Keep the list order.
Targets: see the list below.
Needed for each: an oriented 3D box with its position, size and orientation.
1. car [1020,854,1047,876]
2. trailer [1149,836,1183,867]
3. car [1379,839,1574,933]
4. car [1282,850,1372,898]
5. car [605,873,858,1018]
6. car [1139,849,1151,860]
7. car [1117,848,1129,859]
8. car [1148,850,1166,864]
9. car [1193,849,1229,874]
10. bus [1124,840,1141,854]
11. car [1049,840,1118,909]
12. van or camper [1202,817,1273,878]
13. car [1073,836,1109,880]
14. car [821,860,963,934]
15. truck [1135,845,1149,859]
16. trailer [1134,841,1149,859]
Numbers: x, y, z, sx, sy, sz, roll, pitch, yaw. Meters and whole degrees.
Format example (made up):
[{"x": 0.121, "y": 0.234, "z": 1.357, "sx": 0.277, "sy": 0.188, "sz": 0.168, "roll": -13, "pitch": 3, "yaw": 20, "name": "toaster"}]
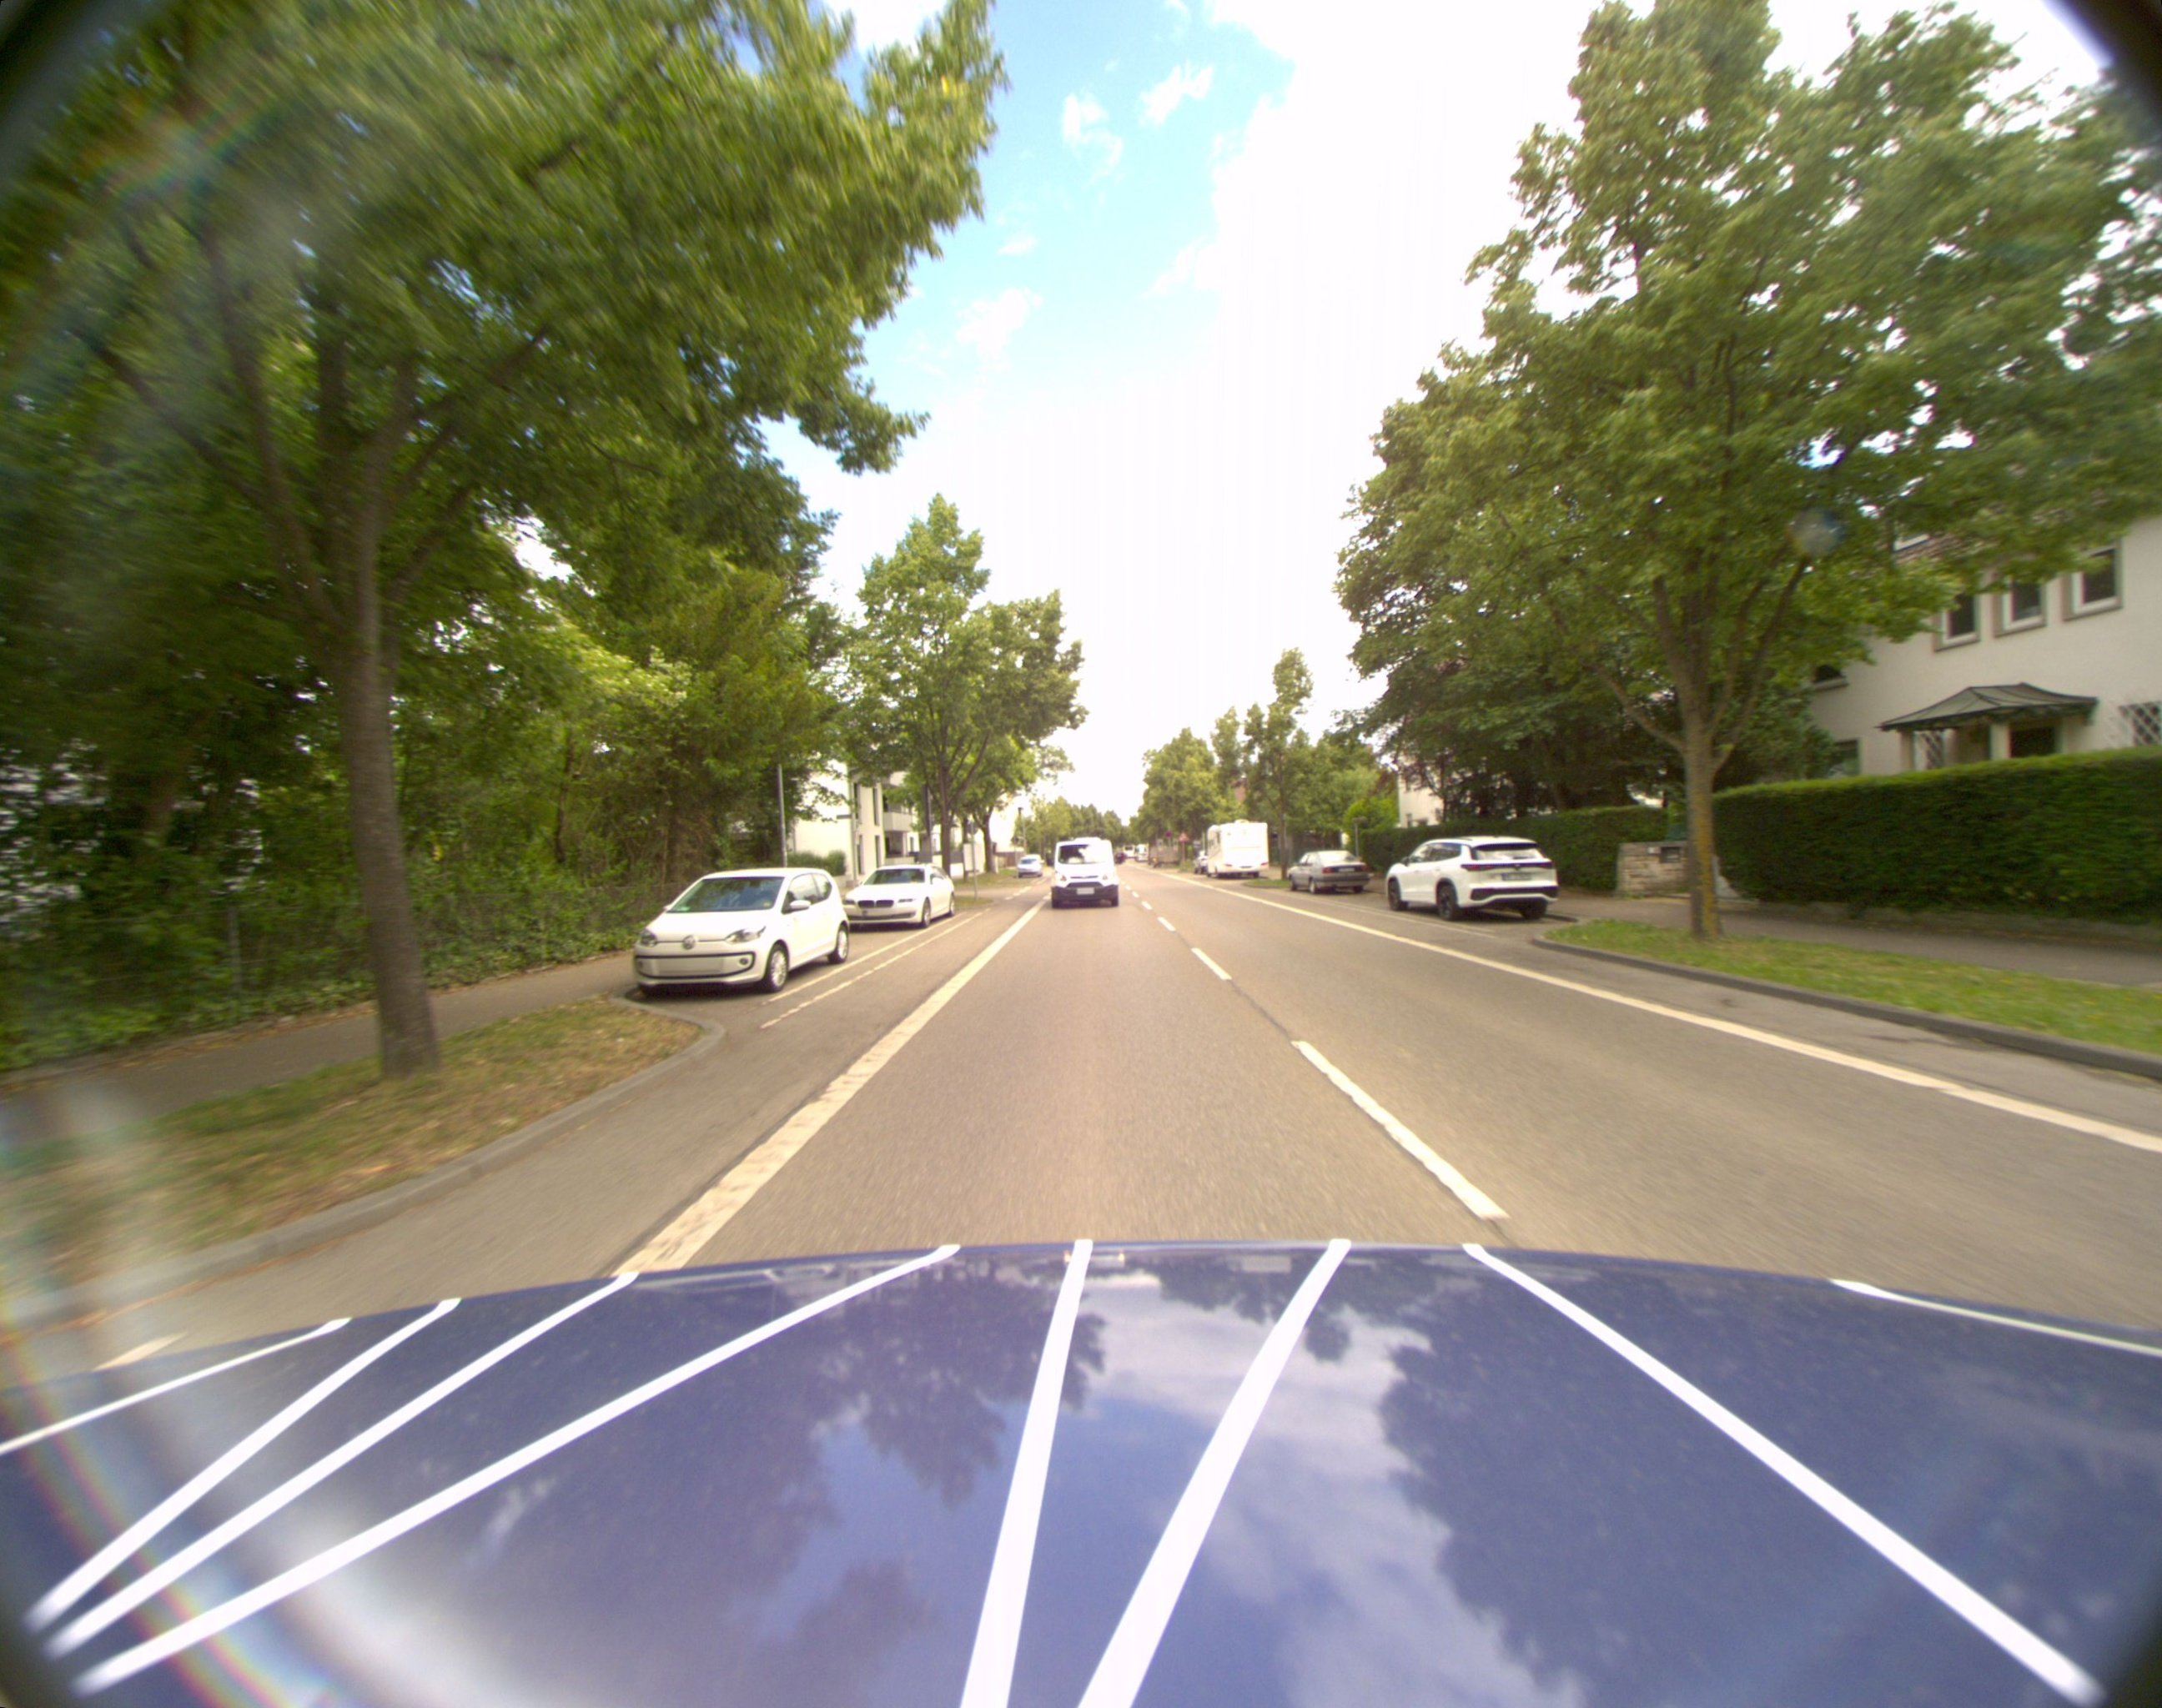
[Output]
[{"x": -3.455, "y": 0.779, "z": 55.840, "sx": 1.691, "sy": 1.484, "sz": 4.227, "roll": -2, "pitch": 0, "yaw": 1, "name": "car"}, {"x": 8.819, "y": -0.319, "z": 79.698, "sx": 2.680, "sy": 2.924, "sz": 7.474, "roll": -3, "pitch": 1, "yaw": 0, "name": "trailer"}, {"x": 8.089, "y": 0.576, "z": 16.129, "sx": 1.821, "sy": 1.642, "sz": 4.699, "roll": -2, "pitch": 0, "yaw": 3, "name": "car"}, {"x": 8.327, "y": 0.624, "z": 26.133, "sx": 1.559, "sy": 1.461, "sz": 4.451, "roll": -2, "pitch": 0, "yaw": -1, "name": "car"}, {"x": -4.388, "y": 1.052, "z": 10.194, "sx": 1.620, "sy": 1.451, "sz": 3.657, "roll": -2, "pitch": 0, "yaw": 1, "name": "car"}, {"x": 10.106, "y": 0.021, "z": 120.934, "sx": 1.693, "sy": 1.674, "sz": 4.225, "roll": -2, "pitch": 1, "yaw": 2, "name": "car"}, {"x": 6.850, "y": -0.138, "z": 125.021, "sx": 1.764, "sy": 1.792, "sz": 4.768, "roll": -2, "pitch": 0, "yaw": 1, "name": "car"}, {"x": 9.372, "y": 0.368, "z": 94.294, "sx": 1.865, "sy": 1.544, "sz": 4.618, "roll": -2, "pitch": 2, "yaw": 1, "name": "car"}, {"x": 8.575, "y": 0.464, "z": 50.589, "sx": 1.727, "sy": 1.591, "sz": 4.272, "roll": -2, "pitch": 0, "yaw": 1, "name": "car"}, {"x": 13.229, "y": -1.748, "z": 193.402, "sx": 2.810, "sy": 3.269, "sz": 18.053, "roll": 2, "pitch": 1, "yaw": 8, "name": "bus"}, {"x": 0.175, "y": 0.601, "z": 25.414, "sx": 1.998, "sy": 2.002, "sz": 5.319, "roll": -2, "pitch": 1, "yaw": 2, "name": "car"}, {"x": 8.478, "y": -0.364, "z": 42.133, "sx": 2.441, "sy": 2.992, "sz": 7.693, "roll": -2, "pitch": 0, "yaw": 1, "name": "van or camper"}, {"x": 0.685, "y": 0.221, "z": 48.450, "sx": 1.998, "sy": 2.584, "sz": 4.001, "roll": -3, "pitch": 0, "yaw": 3, "name": "car"}, {"x": -4.378, "y": 0.926, "z": 18.520, "sx": 2.026, "sy": 1.435, "sz": 5.025, "roll": -2, "pitch": 0, "yaw": 1, "name": "car"}, {"x": 10.833, "y": -0.384, "z": 134.164, "sx": 2.299, "sy": 2.274, "sz": 6.465, "roll": -2, "pitch": 0, "yaw": 6, "name": "truck"}, {"x": 10.193, "y": -0.685, "z": 127.459, "sx": 2.377, "sy": 2.946, "sz": 7.013, "roll": -2, "pitch": 0, "yaw": 6, "name": "trailer"}]
